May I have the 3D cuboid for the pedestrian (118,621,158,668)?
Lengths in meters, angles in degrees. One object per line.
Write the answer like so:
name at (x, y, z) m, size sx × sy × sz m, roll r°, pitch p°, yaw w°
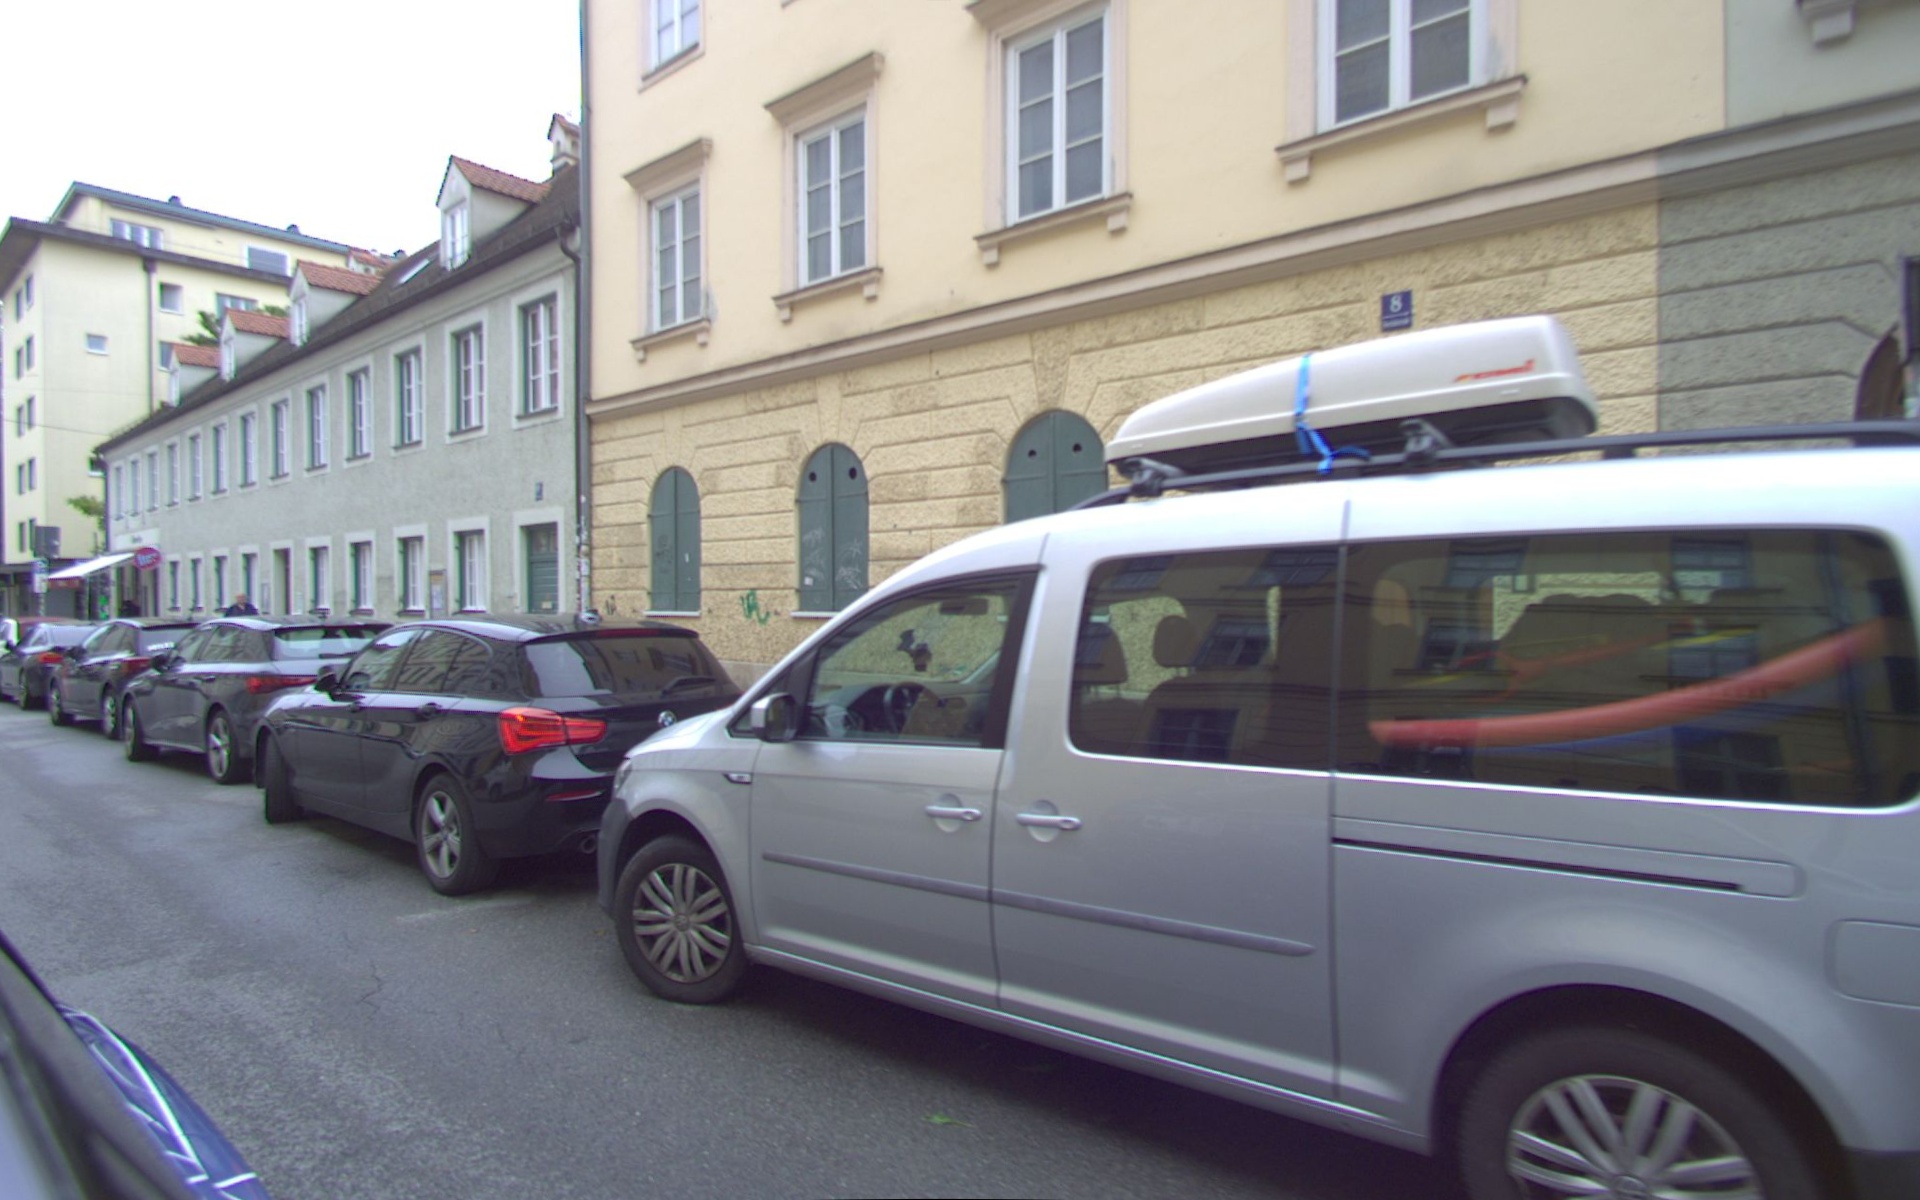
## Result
pedestrian at (-23.524, 1.269, 28.966) m, size 0.693 × 1.300 × 0.795 m, roll 0°, pitch 0°, yaw 41°

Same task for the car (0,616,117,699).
car at (-18.906, 1.109, 20.739) m, size 3.708 × 1.486 × 1.738 m, roll -1°, pitch 1°, yaw 38°

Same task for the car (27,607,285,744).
car at (-10.700, 0.880, 13.370) m, size 4.195 × 1.507 × 1.738 m, roll -1°, pitch 0°, yaw 38°

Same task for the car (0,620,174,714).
car at (-15.126, 1.063, 17.229) m, size 4.681 × 1.349 × 1.780 m, roll -2°, pitch 0°, yaw 40°

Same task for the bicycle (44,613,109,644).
bicycle at (-33.514, 1.073, 38.405) m, size 0.392 × 1.042 × 1.798 m, roll -2°, pitch 1°, yaw 43°

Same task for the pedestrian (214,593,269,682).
pedestrian at (-15.845, 0.806, 22.320) m, size 0.827 × 1.912 × 0.814 m, roll 0°, pitch 0°, yaw 40°

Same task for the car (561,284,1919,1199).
car at (0.793, 0.498, 3.326) m, size 4.617 × 2.010 × 1.739 m, roll -1°, pitch 0°, yaw 37°

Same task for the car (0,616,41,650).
car at (-60.369, 2.060, 62.966) m, size 1.925 × 2.016 × 4.382 m, roll 0°, pitch 0°, yaw 26°

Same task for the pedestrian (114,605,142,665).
pedestrian at (-25.516, 1.059, 31.045) m, size 0.877 × 1.795 × 0.523 m, roll 0°, pitch 0°, yaw 41°

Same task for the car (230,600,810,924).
car at (-3.006, 0.746, 6.496) m, size 4.099 × 1.419 × 1.737 m, roll -1°, pitch 0°, yaw 39°

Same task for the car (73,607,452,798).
car at (-6.762, 0.827, 9.672) m, size 4.124 × 1.452 × 1.799 m, roll -2°, pitch -1°, yaw 37°

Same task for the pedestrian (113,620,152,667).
pedestrian at (-24.070, 1.255, 29.441) m, size 0.693 × 1.299 × 0.795 m, roll 0°, pitch 0°, yaw 41°
